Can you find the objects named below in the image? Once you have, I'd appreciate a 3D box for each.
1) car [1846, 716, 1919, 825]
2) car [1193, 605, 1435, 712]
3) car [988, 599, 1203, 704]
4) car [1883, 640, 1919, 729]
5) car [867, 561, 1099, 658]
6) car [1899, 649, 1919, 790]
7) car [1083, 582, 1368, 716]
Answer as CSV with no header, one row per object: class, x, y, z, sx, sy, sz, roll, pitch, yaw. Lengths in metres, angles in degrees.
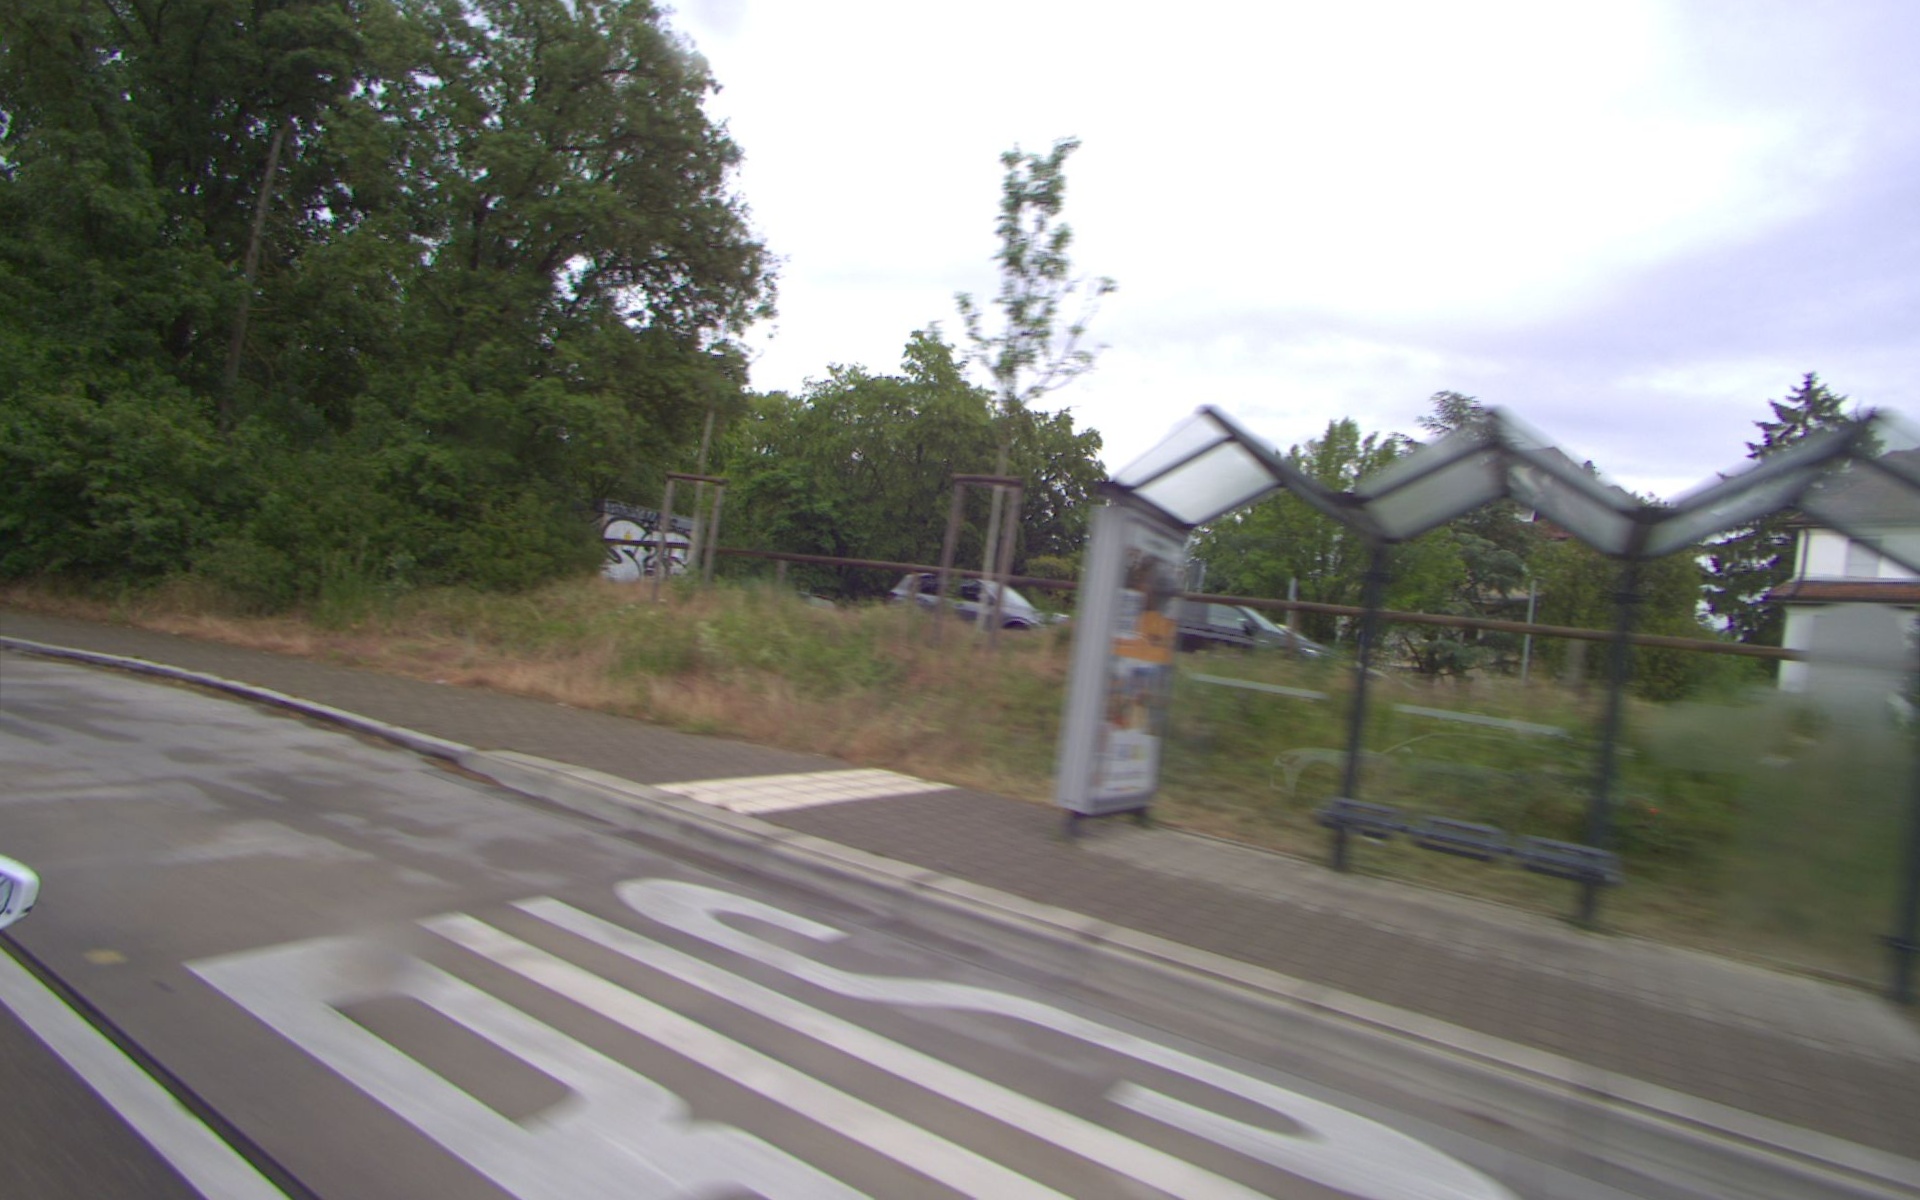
car,17.717,3.180,16.919,3.940,1.678,1.997,7,-5,38
car,6.955,1.128,19.922,4.010,1.495,1.888,5,-5,39
car,3.120,1.170,23.508,4.405,1.678,1.997,7,-5,38
car,19.774,1.779,18.377,4.007,1.495,1.889,5,-5,37
car,0.417,0.171,21.805,4.713,1.495,1.888,5,-5,39
car,11.781,1.367,9.322,4.222,1.495,1.996,5,-5,39
car,4.732,0.845,18.231,4.405,1.678,1.997,7,-5,38
